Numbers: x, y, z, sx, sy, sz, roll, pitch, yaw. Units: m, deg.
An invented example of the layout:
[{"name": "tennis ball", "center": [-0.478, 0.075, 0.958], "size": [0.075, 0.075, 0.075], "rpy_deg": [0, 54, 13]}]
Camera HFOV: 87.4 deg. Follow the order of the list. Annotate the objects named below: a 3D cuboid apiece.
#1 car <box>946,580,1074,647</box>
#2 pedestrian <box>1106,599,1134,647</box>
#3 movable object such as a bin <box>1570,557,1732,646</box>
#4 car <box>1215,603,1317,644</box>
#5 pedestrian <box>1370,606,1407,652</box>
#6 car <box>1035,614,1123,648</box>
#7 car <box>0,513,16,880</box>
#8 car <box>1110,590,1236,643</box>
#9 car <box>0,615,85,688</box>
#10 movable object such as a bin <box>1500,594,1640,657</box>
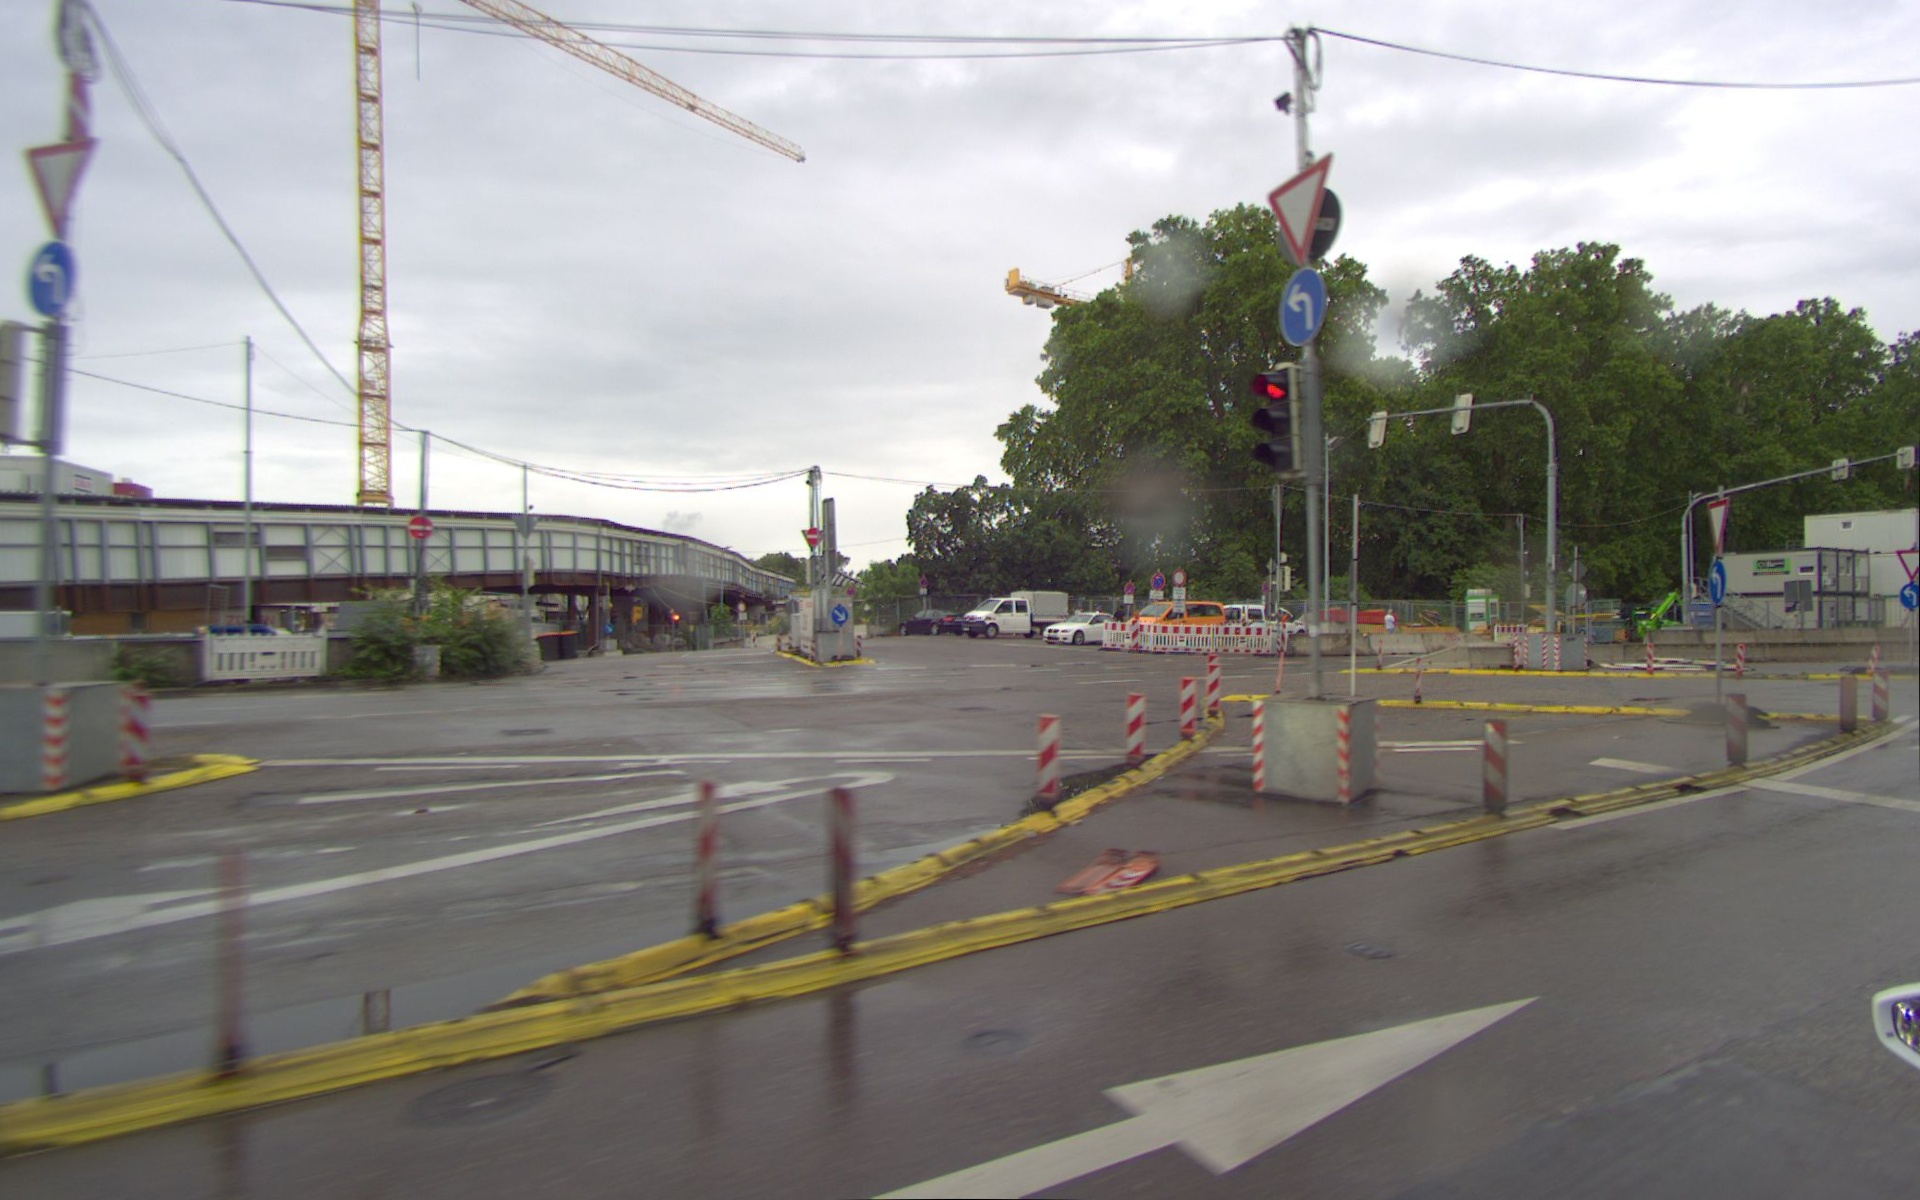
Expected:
[{"name": "car", "center": [2.504, 0.687, 49.378], "size": [6.099, 3.106, 2.262], "rpy_deg": [0, -2, -32]}, {"name": "pedestrian", "center": [6.950, 1.001, 43.621], "size": [0.731, 2.040, 0.914], "rpy_deg": [0, -1, -36]}, {"name": "movable object such as a bin", "center": [40.443, 0.173, 58.766], "size": [8.261, 4.866, 4.728], "rpy_deg": [0, -2, -30]}, {"name": "car", "center": [14.216, 1.081, 46.590], "size": [4.742, 1.785, 1.836], "rpy_deg": [0, -2, -31]}, {"name": "pedestrian", "center": [19.277, 1.277, 45.167], "size": [1.164, 2.040, 1.169], "rpy_deg": [0, 0, -41]}, {"name": "car", "center": [5.225, 1.348, 43.829], "size": [3.805, 1.433, 1.742], "rpy_deg": [1, -2, -42]}, {"name": "car", "center": [-6.573, 0.479, 3.108], "size": [5.023, 1.887, 2.195], "rpy_deg": [0, 0, -35]}, {"name": "car", "center": [9.228, 0.738, 43.332], "size": [5.524, 2.128, 1.982], "rpy_deg": [0, -3, -34]}, {"name": "car", "center": [-28.160, 1.476, 28.224], "size": [1.962, 2.040, 5.023], "rpy_deg": [-2, -1, 24]}, {"name": "movable object such as a bin", "center": [32.839, 1.370, 54.104], "size": [6.313, 3.169, 3.914], "rpy_deg": [0, -2, -30]}]
